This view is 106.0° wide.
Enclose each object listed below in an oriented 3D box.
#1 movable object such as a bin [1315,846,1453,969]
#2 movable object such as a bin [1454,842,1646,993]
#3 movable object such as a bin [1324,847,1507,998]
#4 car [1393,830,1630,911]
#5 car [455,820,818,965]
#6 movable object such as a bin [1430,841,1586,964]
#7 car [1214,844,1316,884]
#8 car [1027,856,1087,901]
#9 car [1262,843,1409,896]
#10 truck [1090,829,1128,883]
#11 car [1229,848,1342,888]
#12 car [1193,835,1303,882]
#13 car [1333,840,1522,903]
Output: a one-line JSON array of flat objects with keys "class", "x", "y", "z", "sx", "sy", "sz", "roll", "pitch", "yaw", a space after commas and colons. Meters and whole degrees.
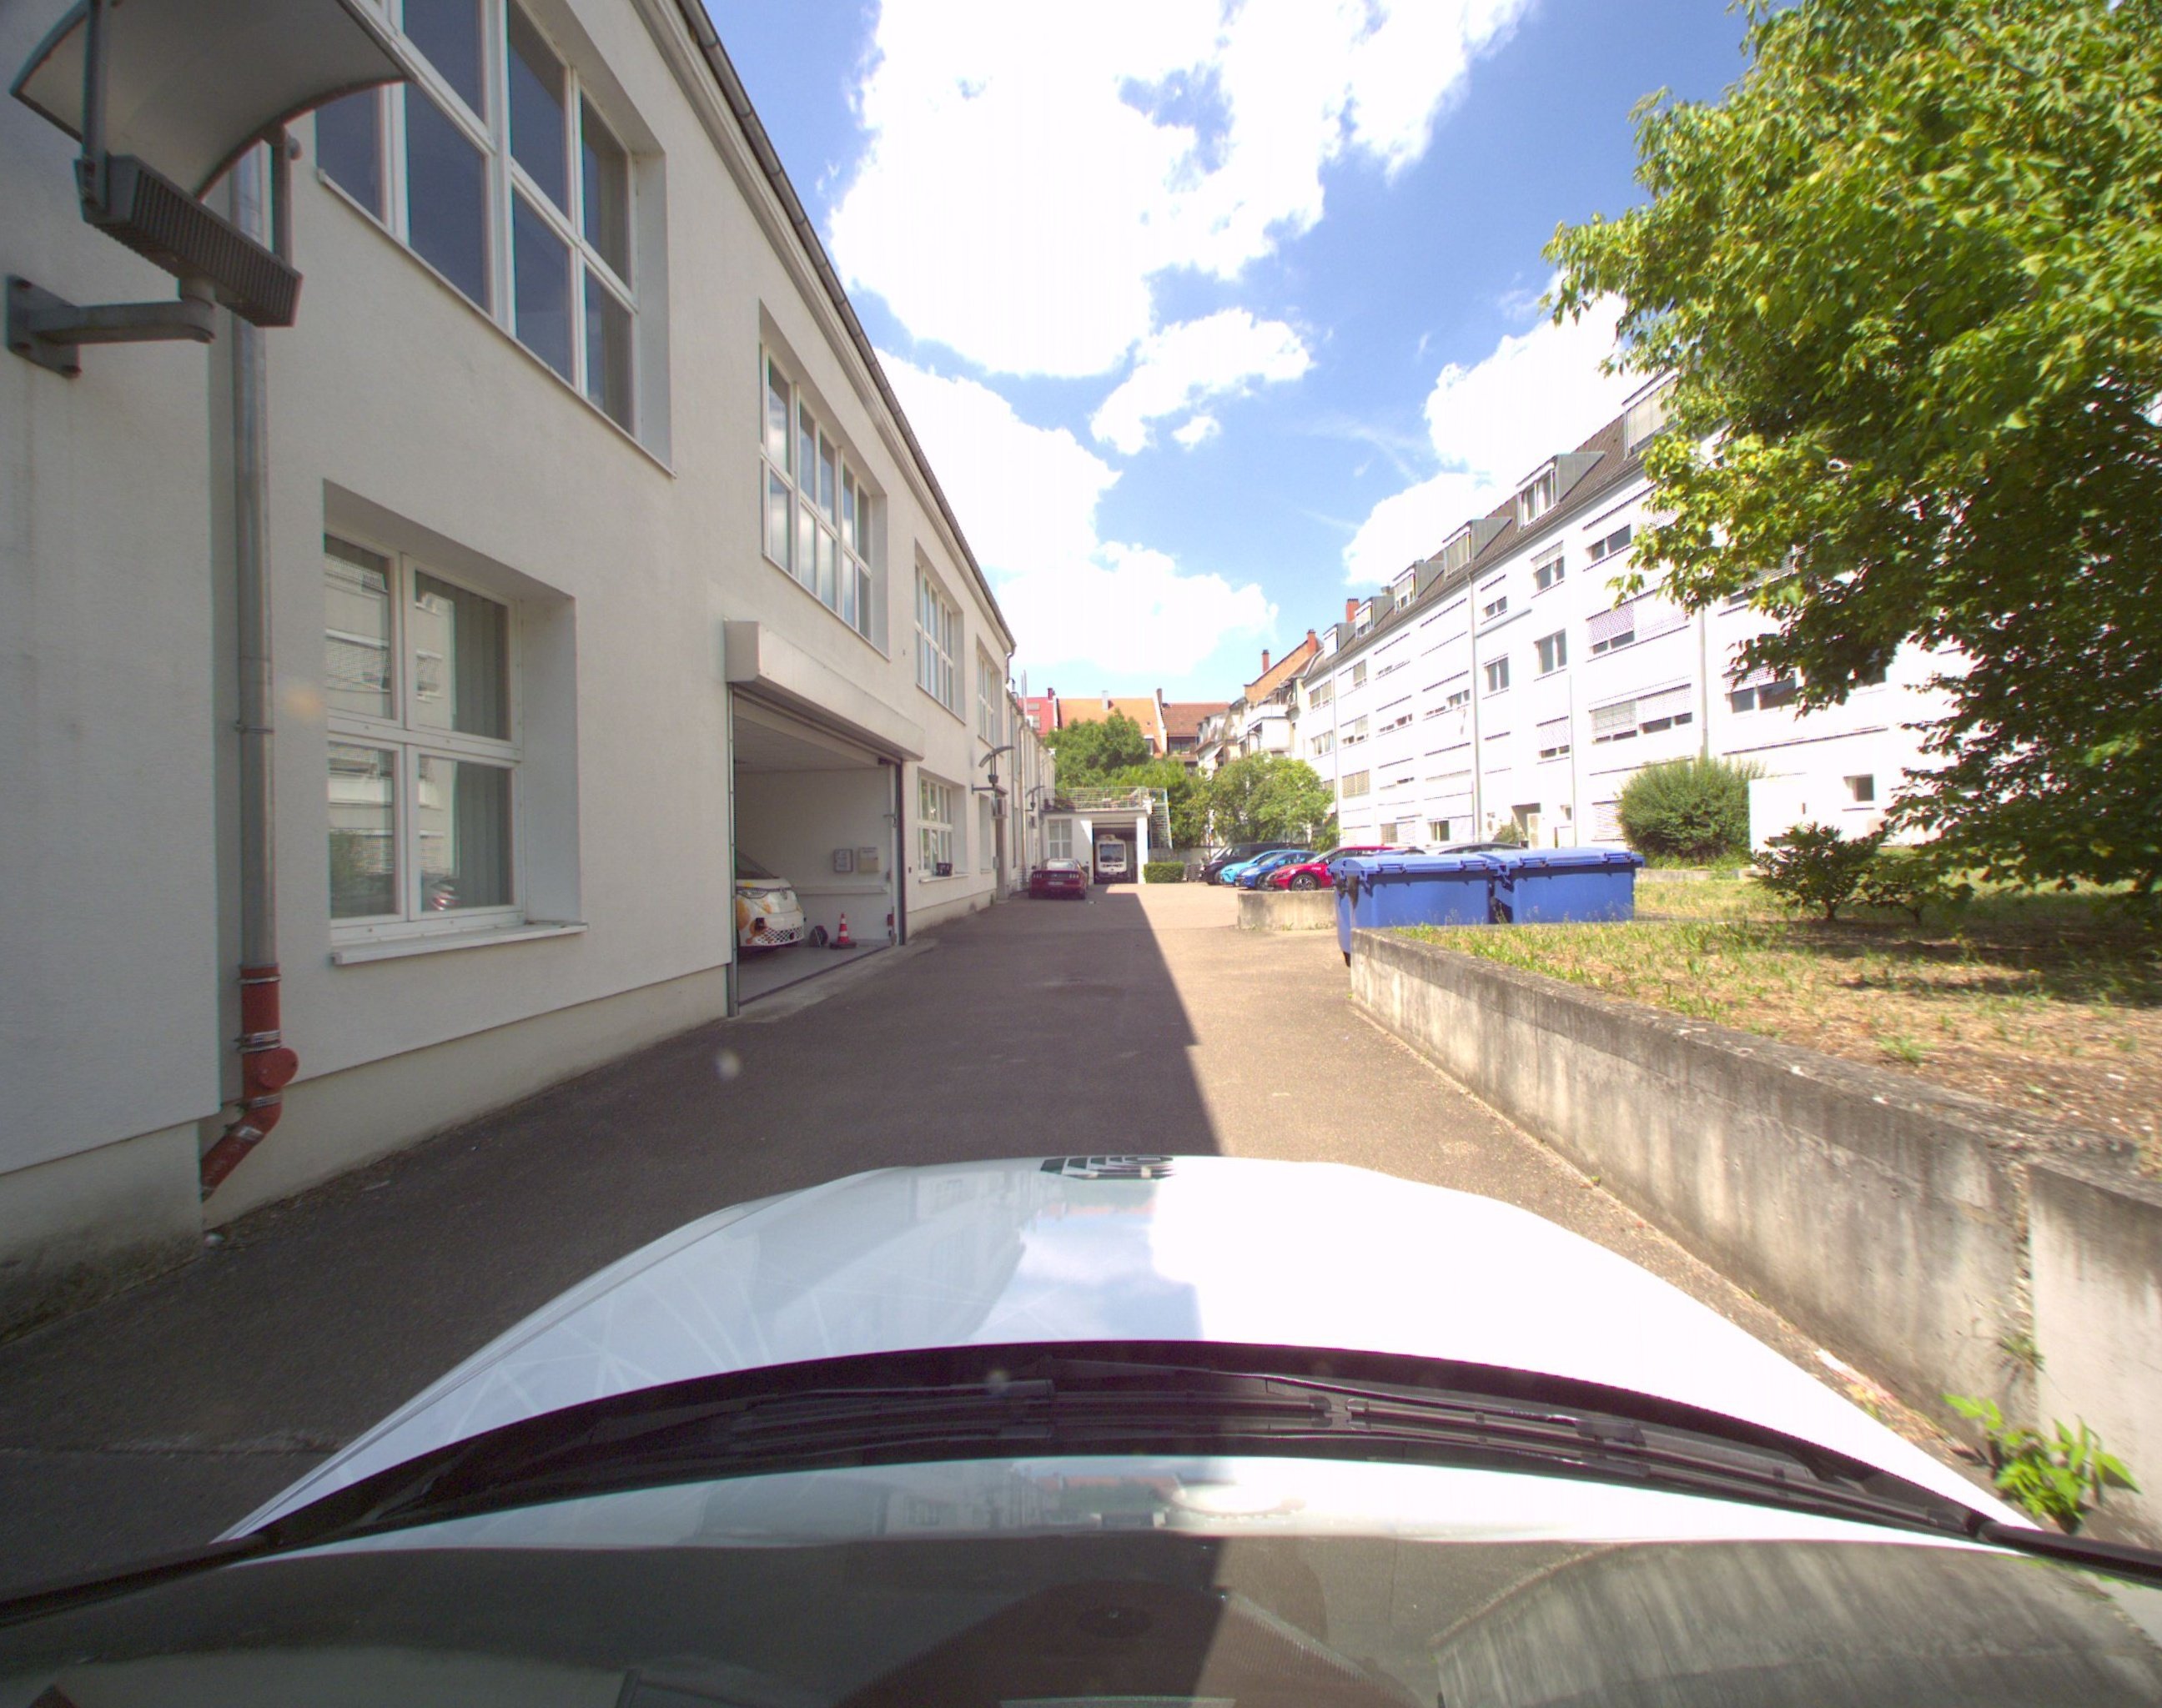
[{"class": "movable object such as a bin", "x": 3.550, "y": 0.595, "z": 9.667, "sx": 1.188, "sy": 1.326, "sz": 1.160, "roll": -2, "pitch": 0, "yaw": 0}, {"class": "movable object such as a bin", "x": 4.474, "y": 0.570, "z": 7.895, "sx": 1.210, "sy": 1.326, "sz": 1.162, "roll": -2, "pitch": 0, "yaw": 5}, {"class": "movable object such as a bin", "x": 3.183, "y": 0.621, "z": 7.917, "sx": 1.332, "sy": 1.326, "sz": 1.162, "roll": -2, "pitch": 0, "yaw": 5}, {"class": "car", "x": 8.844, "y": 0.321, "z": 16.990, "sx": 3.973, "sy": 1.478, "sz": 1.805, "roll": -2, "pitch": 0, "yaw": 0}, {"class": "car", "x": -6.619, "y": 0.545, "z": 12.482, "sx": 4.461, "sy": 2.025, "sz": 1.982, "roll": 0, "pitch": 0, "yaw": 3}, {"class": "movable object such as a bin", "x": 4.984, "y": 0.538, "z": 9.614, "sx": 1.212, "sy": 1.326, "sz": 1.160, "roll": -2, "pitch": 0, "yaw": 0}, {"class": "car", "x": 7.848, "y": 0.426, "z": 34.975, "sx": 3.973, "sy": 1.534, "sz": 1.805, "roll": -2, "pitch": 0, "yaw": 0}, {"class": "car", "x": -0.755, "y": 0.786, "z": 28.335, "sx": 1.792, "sy": 1.390, "sz": 4.002, "roll": -1, "pitch": 0, "yaw": 2}, {"class": "car", "x": 7.841, "y": 0.467, "z": 25.343, "sx": 3.973, "sy": 1.478, "sz": 1.805, "roll": -2, "pitch": 0, "yaw": 0}, {"class": "truck", "x": 1.553, "y": 0.129, "z": 47.261, "sx": 1.784, "sy": 2.937, "sz": 4.648, "roll": -1, "pitch": 0, "yaw": -3}, {"class": "car", "x": 7.973, "y": 0.515, "z": 31.987, "sx": 3.973, "sy": 1.390, "sz": 1.805, "roll": -2, "pitch": 0, "yaw": 0}, {"class": "car", "x": 7.729, "y": 0.201, "z": 38.023, "sx": 4.661, "sy": 1.958, "sz": 2.077, "roll": -2, "pitch": 0, "yaw": 0}, {"class": "car", "x": 8.622, "y": 0.424, "z": 20.521, "sx": 3.973, "sy": 1.390, "sz": 1.805, "roll": -2, "pitch": 0, "yaw": 0}]
